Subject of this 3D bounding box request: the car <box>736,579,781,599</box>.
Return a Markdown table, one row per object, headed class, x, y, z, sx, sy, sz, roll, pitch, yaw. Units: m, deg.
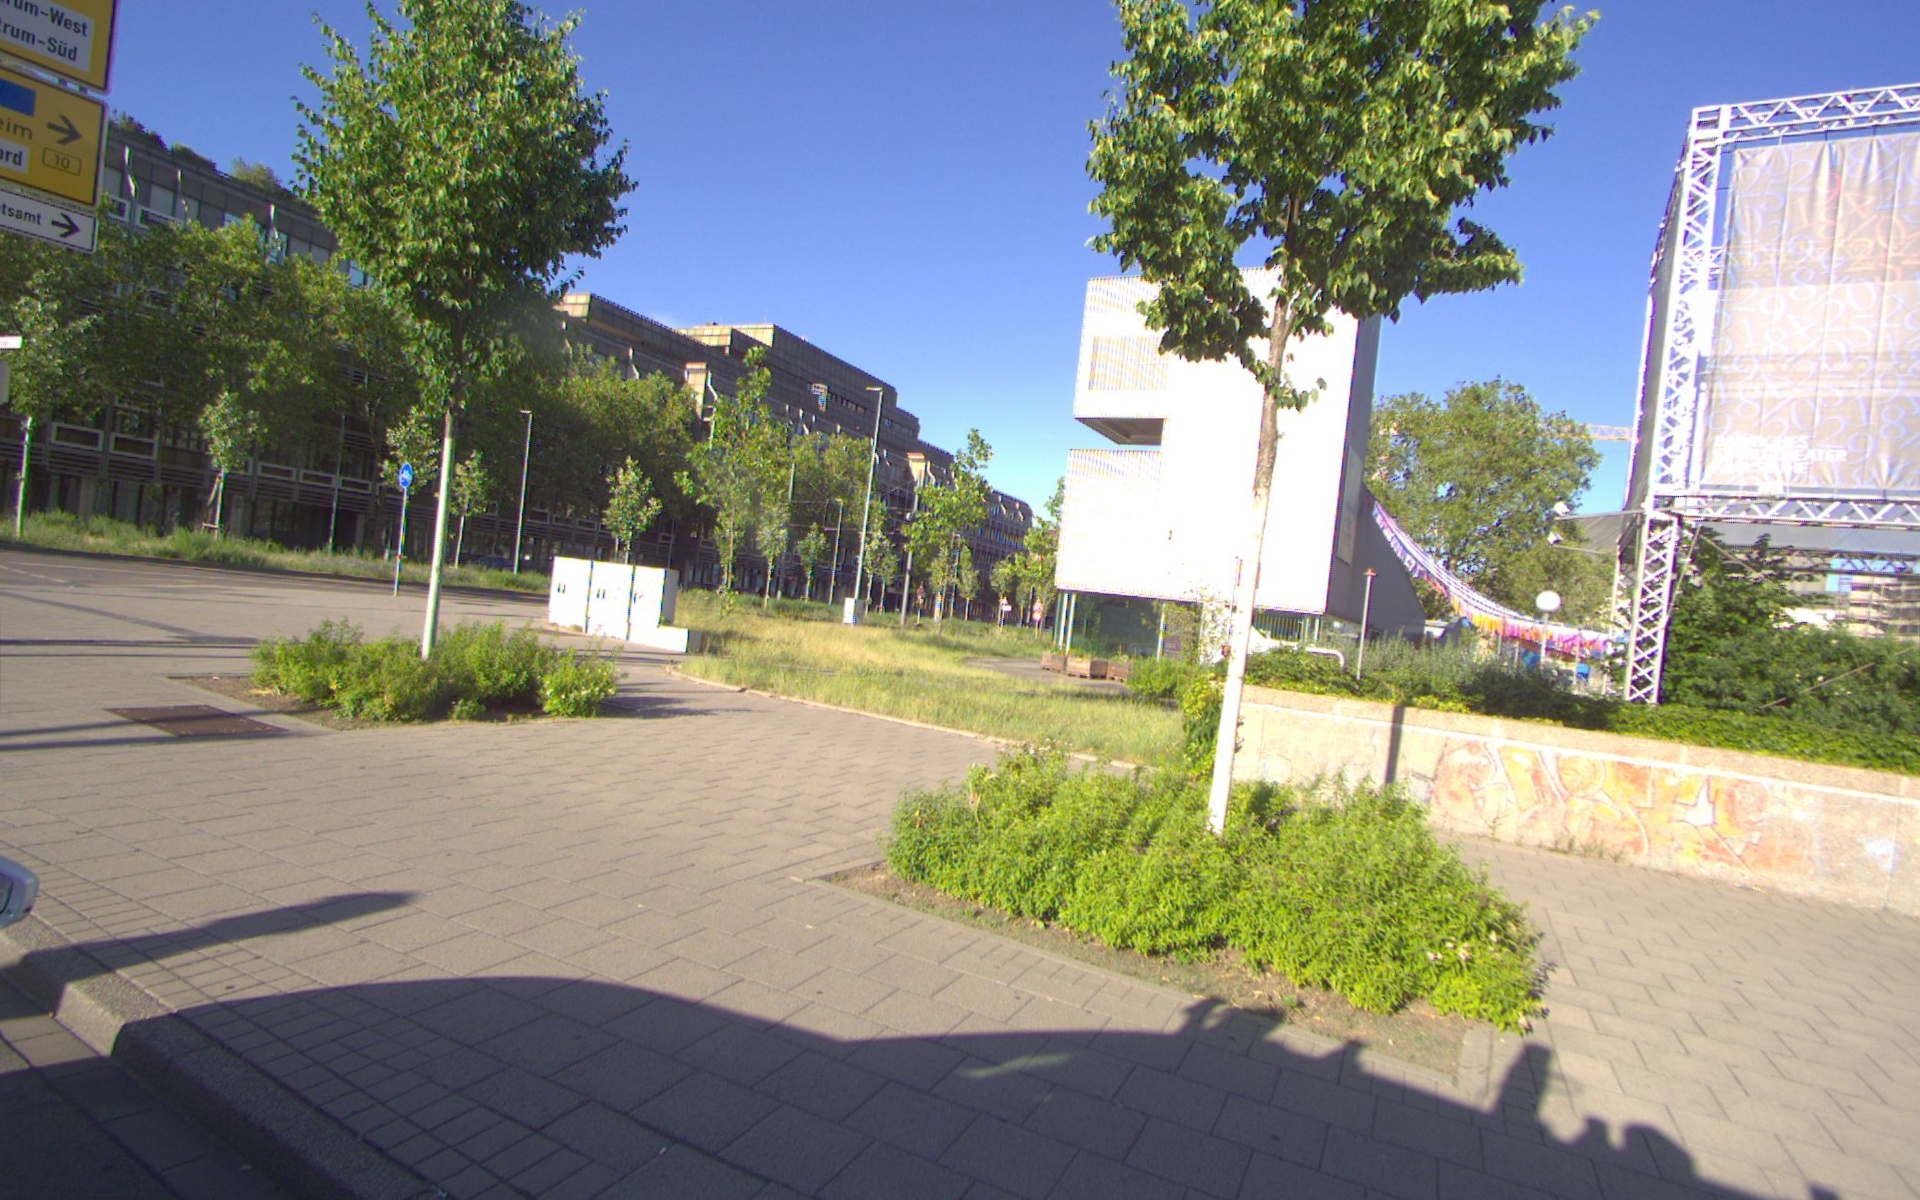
| class | x | y | z | sx | sy | sz | roll | pitch | yaw |
| --- | --- | --- | --- | --- | --- | --- | --- | --- | --- |
| car | -16.603 | -0.903 | 83.080 | 1.605 | 1.359 | 3.994 | 6 | 1 | 23 |
